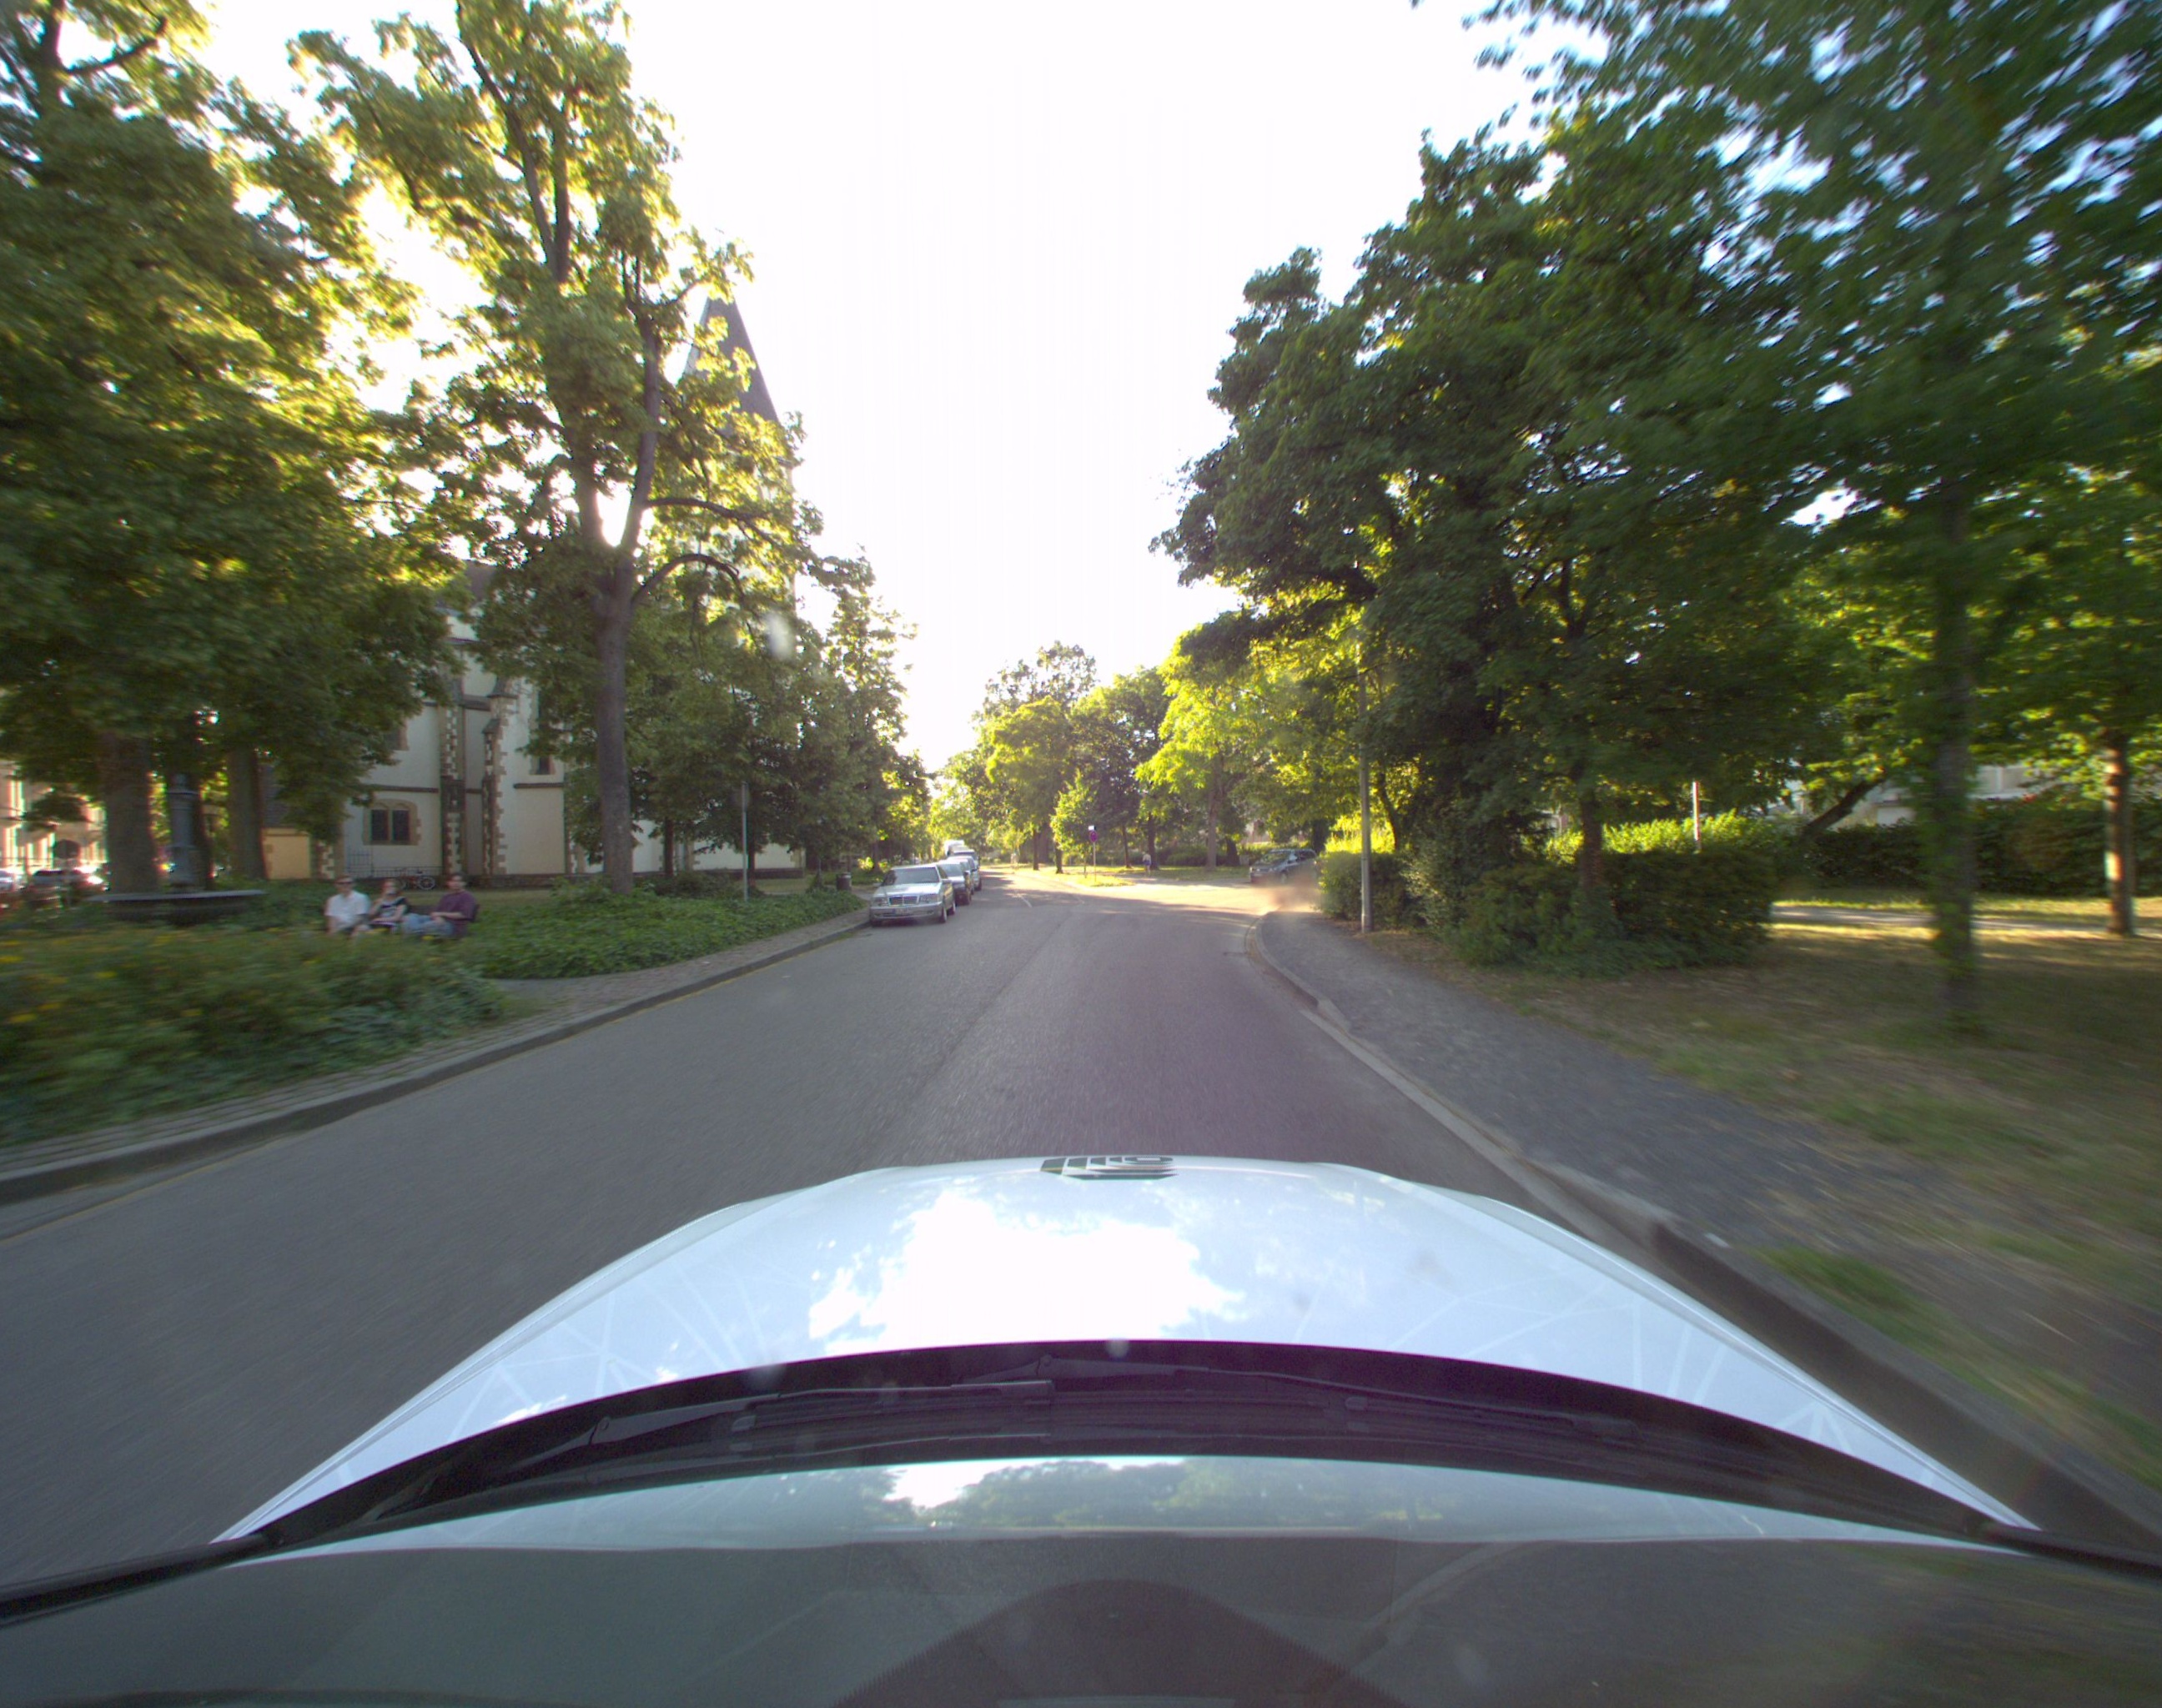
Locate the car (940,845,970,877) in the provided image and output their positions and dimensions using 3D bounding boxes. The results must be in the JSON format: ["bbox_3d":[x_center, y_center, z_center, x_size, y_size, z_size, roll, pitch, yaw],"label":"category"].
[{"bbox_3d":[-9.698,0.540,62.425,1.853,2.356,5.163,-1,0,-13],"label":"car"}]

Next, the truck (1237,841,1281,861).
[{"bbox_3d":[28.967,-0.459,133.026,2.619,3.029,7.936,-1,0,-28],"label":"truck"}]

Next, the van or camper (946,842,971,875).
[{"bbox_3d":[-11.280,0.419,74.475,2.090,2.908,6.309,-1,0,-10],"label":"van or camper"}]

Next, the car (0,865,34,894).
[{"bbox_3d":[-63.350,1.492,47.579,2.011,1.655,4.169,-1,0,-43],"label":"car"}]

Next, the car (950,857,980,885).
[{"bbox_3d":[-6.579,0.956,46.469,1.615,1.501,3.687,-1,0,-8],"label":"car"}]

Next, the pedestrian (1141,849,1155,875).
[{"bbox_3d":[4.087,0.495,49.753,0.770,1.574,0.768,-1,0,2],"label":"pedestrian"}]

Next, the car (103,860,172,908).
[{"bbox_3d":[-47.599,1.464,41.169,1.902,2.261,4.168,-1,-1,-44],"label":"car"}]

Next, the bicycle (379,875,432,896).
[{"bbox_3d":[-31.542,1.471,38.057,1.894,0.918,0.418,0,0,-41],"label":"bicycle"}]

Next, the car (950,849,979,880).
[{"bbox_3d":[-7.834,0.692,54.932,1.850,1.946,4.828,-1,0,-8],"label":"car"}]

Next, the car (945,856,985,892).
[{"bbox_3d":[-5.401,0.881,38.057,1.703,1.579,3.687,-1,0,-8],"label":"car"}]

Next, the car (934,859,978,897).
[{"bbox_3d":[-5.187,0.959,34.200,1.610,1.440,3.598,-2,0,-6],"label":"car"}]

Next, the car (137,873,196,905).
[{"bbox_3d":[-51.465,1.921,45.895,1.902,1.655,4.168,-1,0,-44],"label":"car"}]

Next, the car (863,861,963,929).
[{"bbox_3d":[-4.165,0.949,20.836,1.776,1.415,4.492,-3,0,-3],"label":"car"}]

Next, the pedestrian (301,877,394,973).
[{"bbox_3d":[-9.965,0.943,11.083,0.548,1.233,0.727,-1,0,10],"label":"pedestrian"}]

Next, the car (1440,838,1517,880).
[{"bbox_3d":[20.405,0.225,41.659,5.183,2.013,1.935,-1,0,-45],"label":"car"}]

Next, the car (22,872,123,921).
[{"bbox_3d":[-38.180,1.558,30.949,1.902,1.655,4.168,-1,0,-44],"label":"car"}]

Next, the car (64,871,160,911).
[{"bbox_3d":[-43.533,1.623,36.696,1.900,1.655,4.173,-1,0,-37],"label":"car"}]

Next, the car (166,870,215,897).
[{"bbox_3d":[-58.128,1.916,53.208,1.902,1.655,4.168,-1,0,-44],"label":"car"}]

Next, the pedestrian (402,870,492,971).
[{"bbox_3d":[-8.551,0.879,11.008,0.547,1.298,0.768,-1,0,10],"label":"pedestrian"}]

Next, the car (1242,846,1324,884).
[{"bbox_3d":[9.925,0.490,39.904,4.344,1.675,1.786,-1,2,-43],"label":"car"}]

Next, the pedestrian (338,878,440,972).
[{"bbox_3d":[-9.391,0.941,11.074,0.547,1.195,0.886,-1,0,10],"label":"pedestrian"}]

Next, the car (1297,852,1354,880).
[{"bbox_3d":[13.042,0.608,43.369,3.445,1.423,1.375,-1,2,-43],"label":"car"}]

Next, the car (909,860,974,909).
[{"bbox_3d":[-4.668,0.968,27.802,1.822,1.415,4.485,-3,0,-6],"label":"car"}]
